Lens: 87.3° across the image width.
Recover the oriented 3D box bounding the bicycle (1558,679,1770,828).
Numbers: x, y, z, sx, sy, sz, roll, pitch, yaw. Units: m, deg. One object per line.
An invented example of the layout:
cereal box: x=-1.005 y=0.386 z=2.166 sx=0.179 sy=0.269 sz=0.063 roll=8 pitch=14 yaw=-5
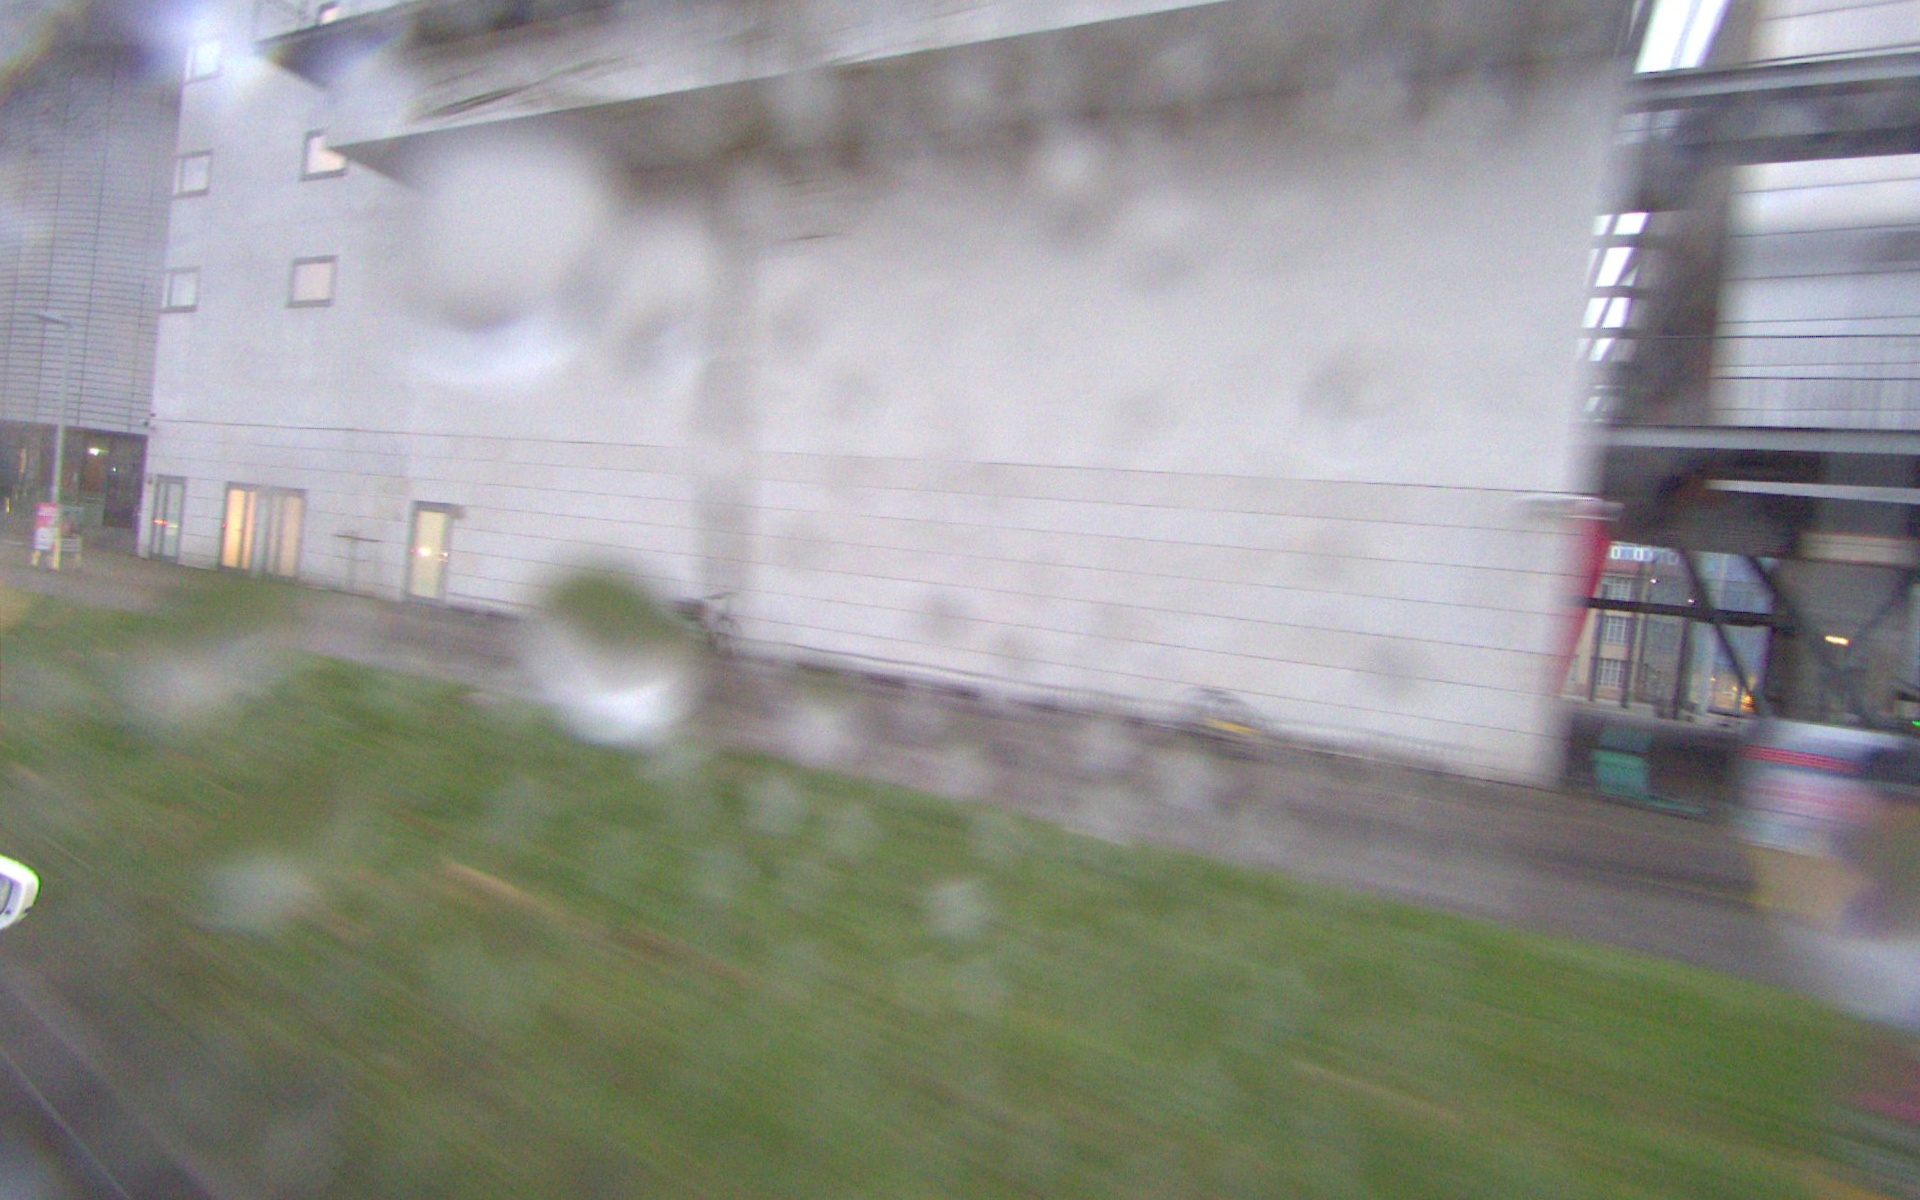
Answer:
bicycle: x=7.543 y=1.612 z=10.858 sx=0.408 sy=1.299 sz=1.728 roll=8 pitch=-1 yaw=-35

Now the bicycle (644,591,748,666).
bicycle: x=-4.028 y=0.455 z=15.514 sx=0.390 sy=1.065 sz=1.813 roll=7 pitch=0 yaw=25
